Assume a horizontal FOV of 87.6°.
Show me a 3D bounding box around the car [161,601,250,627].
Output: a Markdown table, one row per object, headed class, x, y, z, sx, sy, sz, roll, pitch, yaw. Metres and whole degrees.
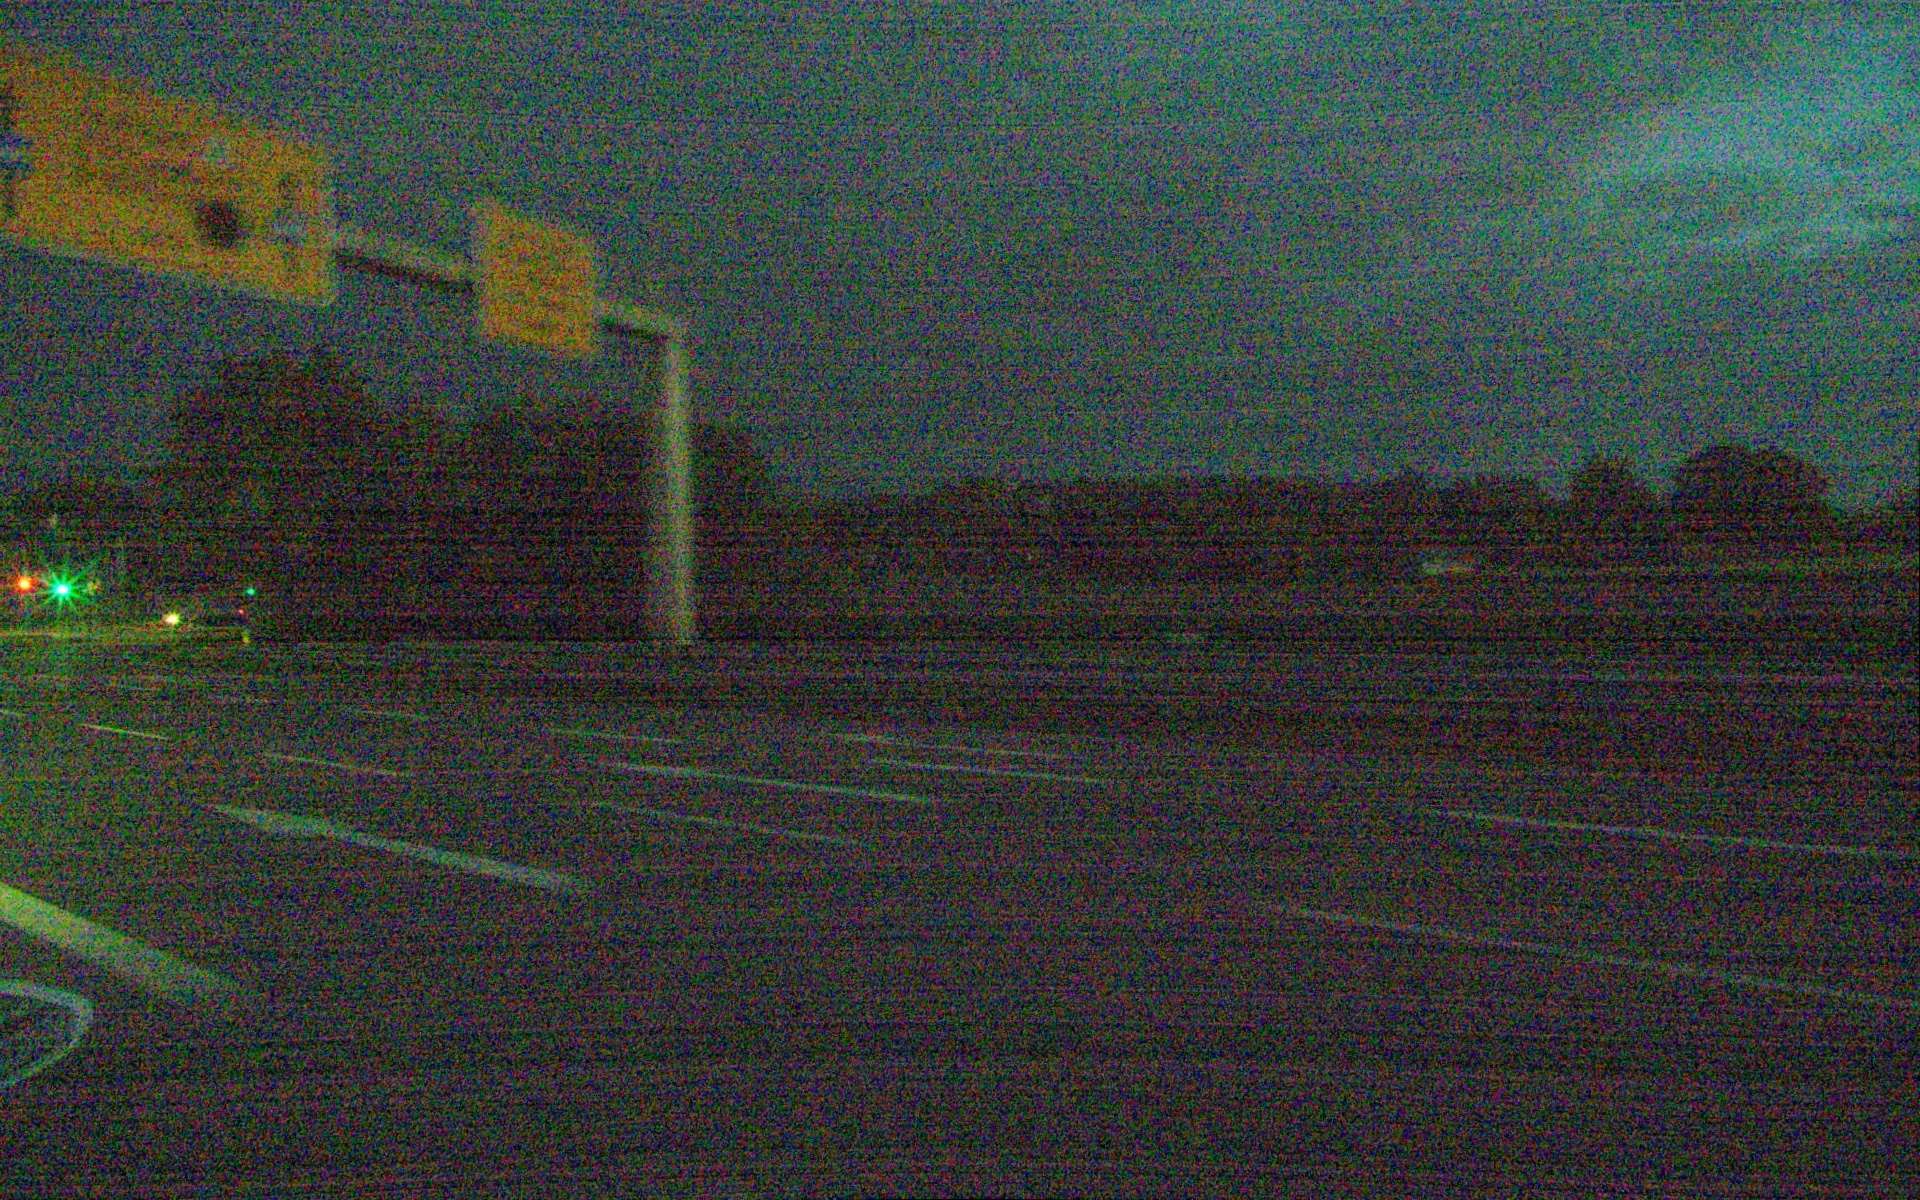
| class | x | y | z | sx | sy | sz | roll | pitch | yaw |
| --- | --- | --- | --- | --- | --- | --- | --- | --- | --- |
| car | -47.232 | 0.843 | 62.740 | 1.974 | 1.590 | 4.065 | 1 | 0 | 32 |
